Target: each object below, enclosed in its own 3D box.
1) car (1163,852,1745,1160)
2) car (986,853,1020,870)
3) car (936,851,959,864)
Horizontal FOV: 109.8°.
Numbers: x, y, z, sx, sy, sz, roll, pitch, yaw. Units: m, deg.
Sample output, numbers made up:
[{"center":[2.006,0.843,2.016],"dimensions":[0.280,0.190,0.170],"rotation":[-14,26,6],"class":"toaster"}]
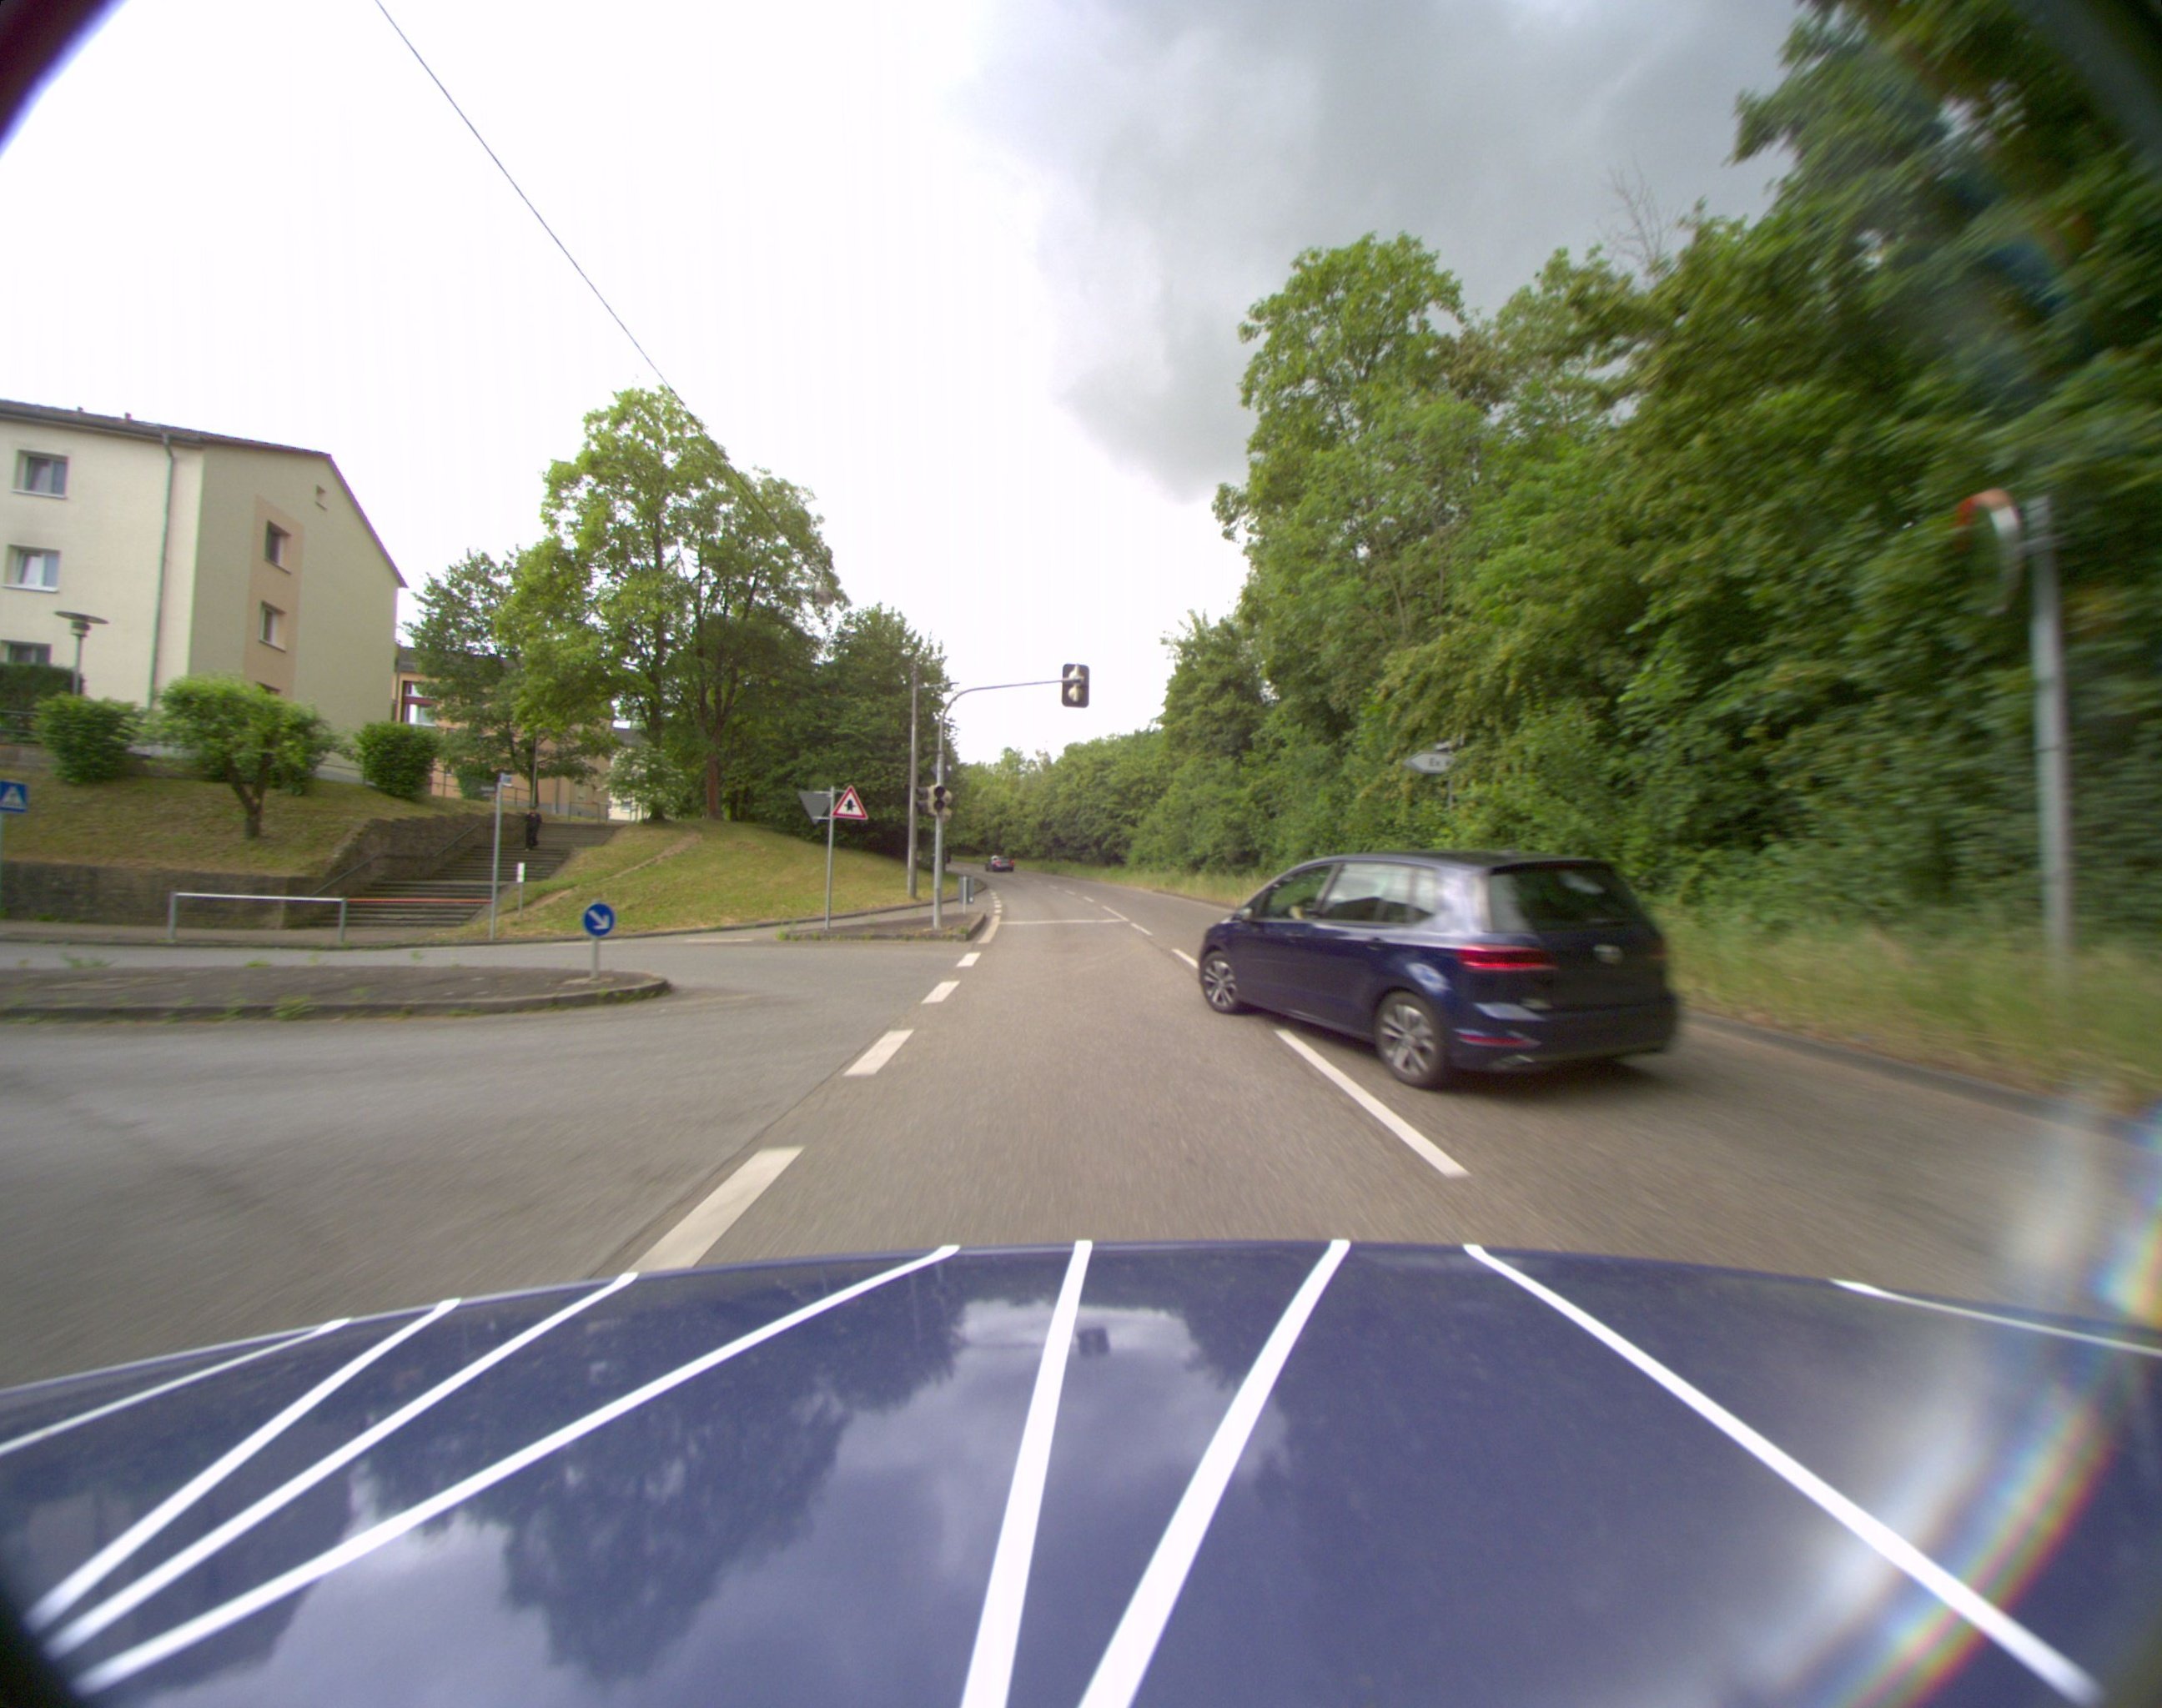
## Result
[{"center":[2.411,0.796,6.553],"dimensions":[1.795,1.506,4.835],"rotation":[-2,1,-14],"class":"car"},{"center":[-7.100,0.661,69.001],"dimensions":[1.906,1.346,4.832],"rotation":[-1,2,-20],"class":"car"},{"center":[-16.236,0.369,92.000],"dimensions":[1.810,1.426,4.651],"rotation":[-3,1,-21],"class":"car"}]
